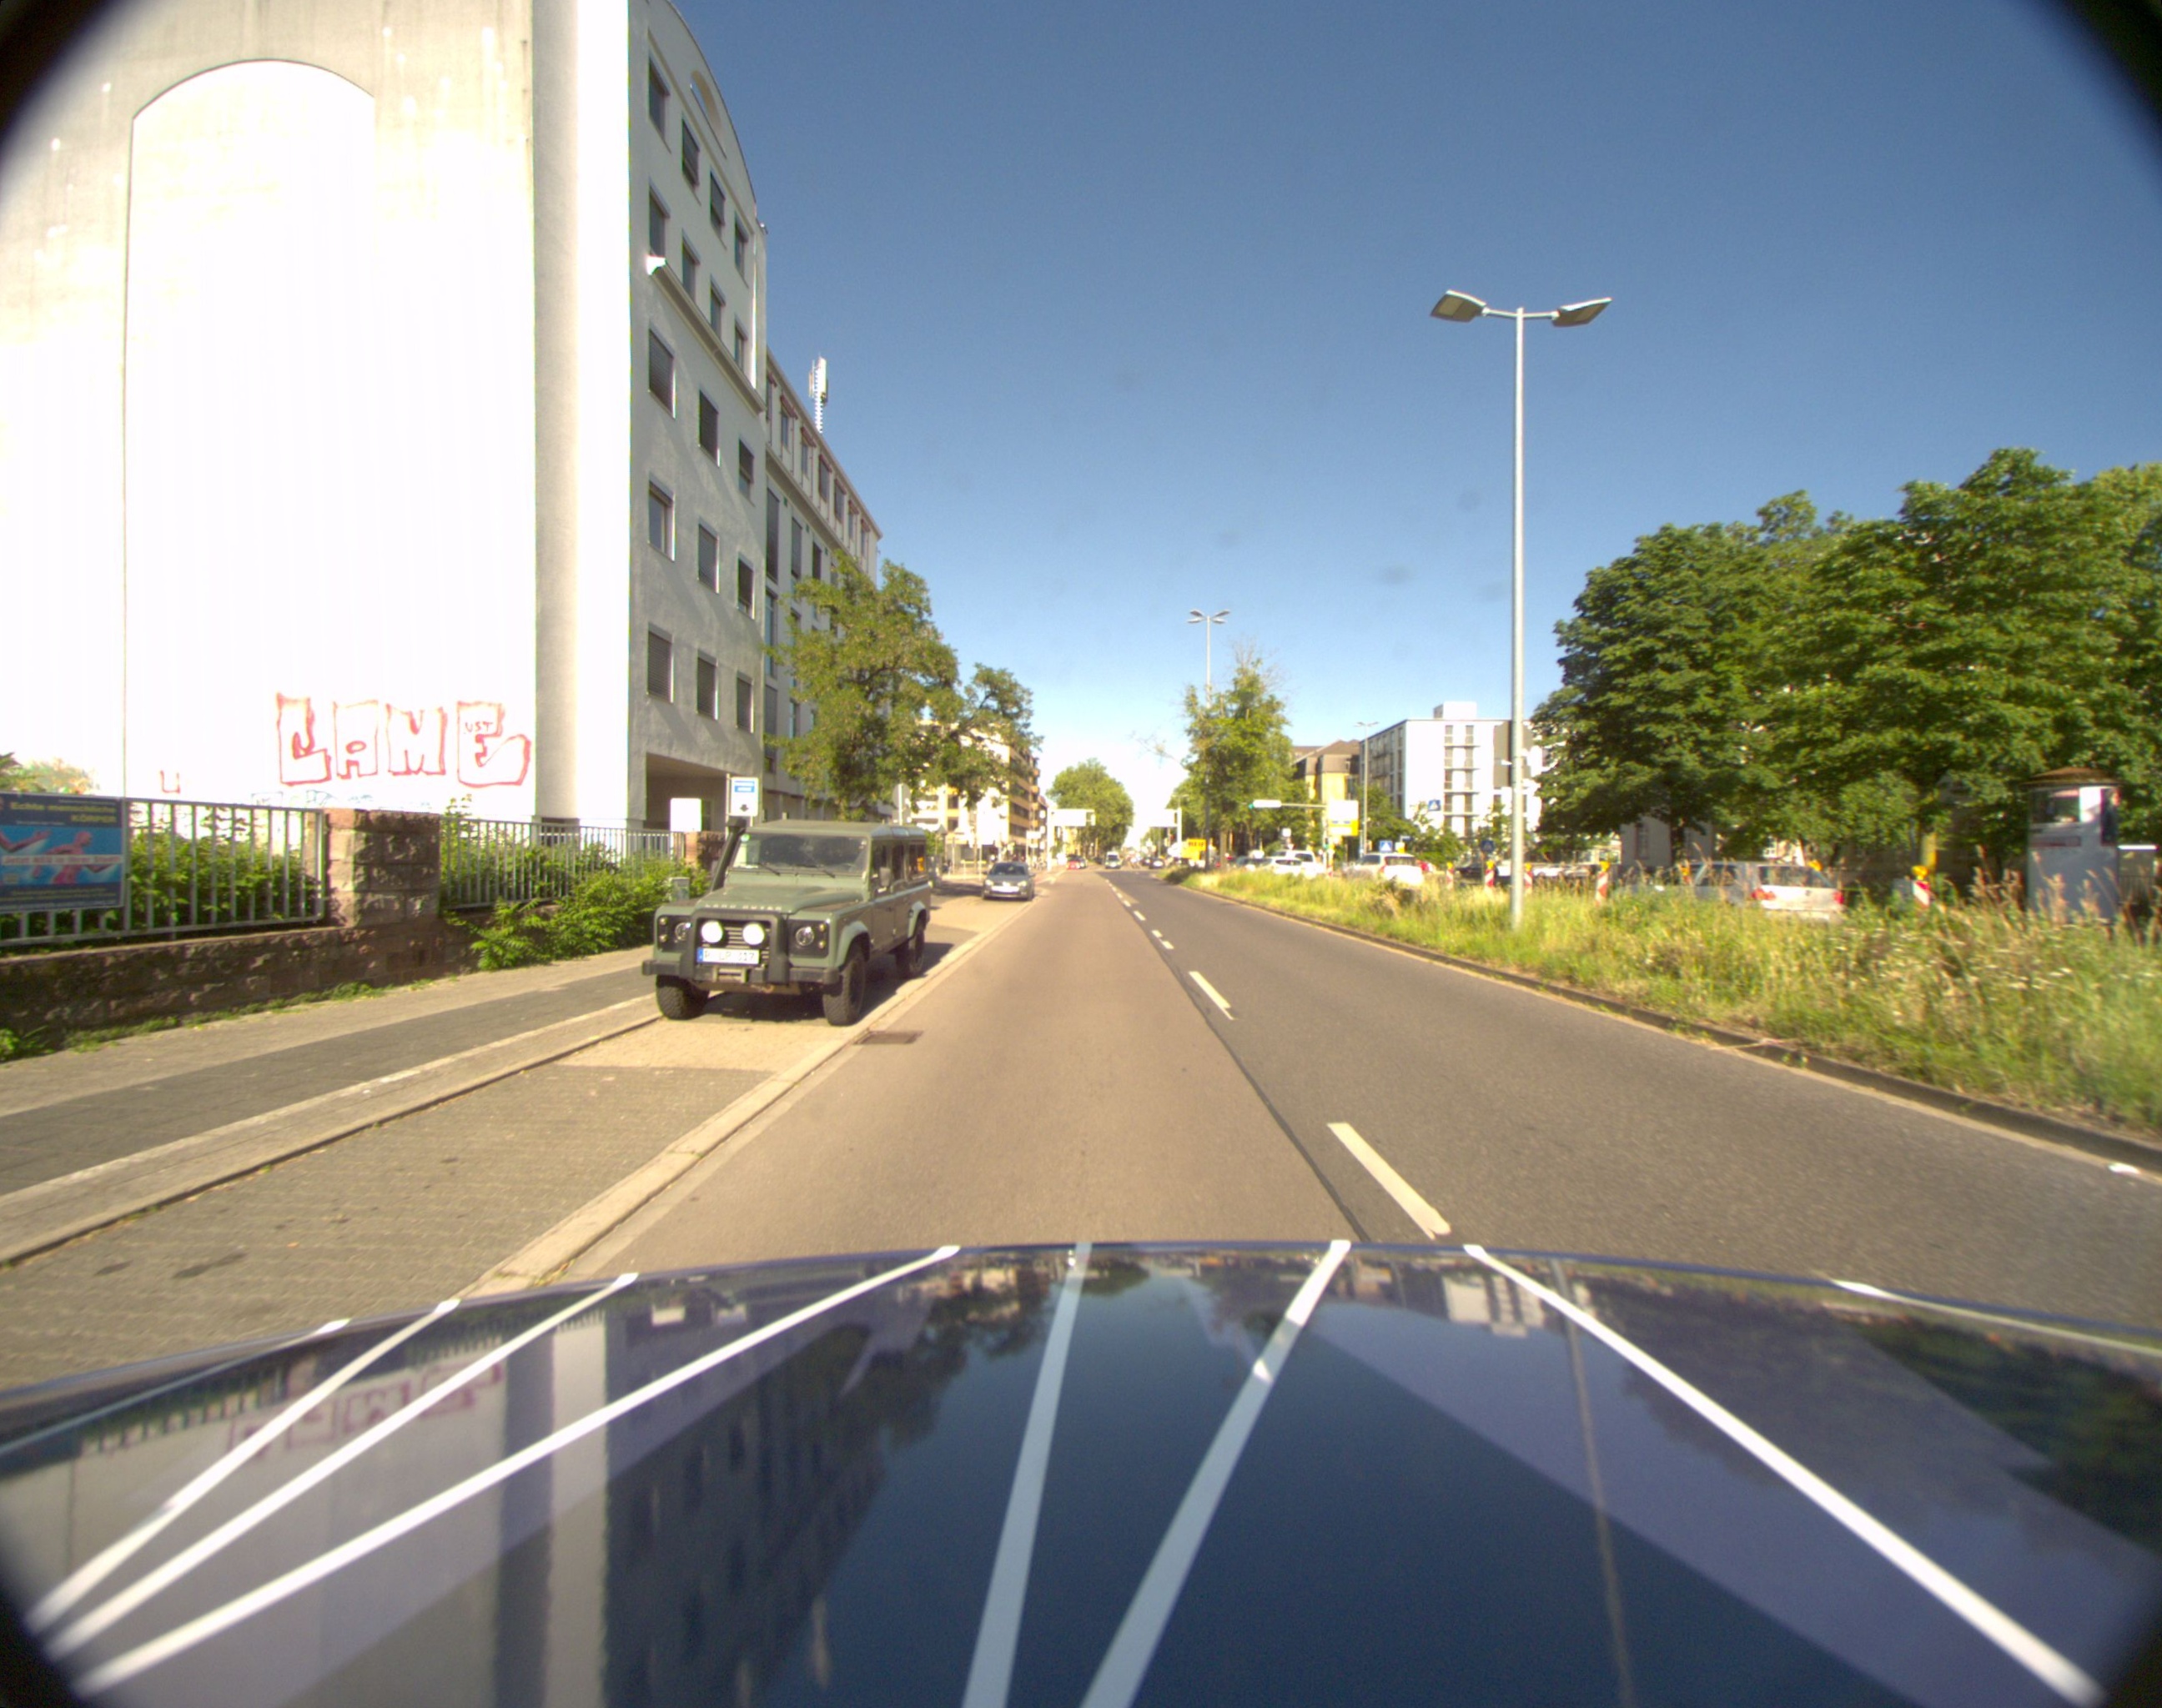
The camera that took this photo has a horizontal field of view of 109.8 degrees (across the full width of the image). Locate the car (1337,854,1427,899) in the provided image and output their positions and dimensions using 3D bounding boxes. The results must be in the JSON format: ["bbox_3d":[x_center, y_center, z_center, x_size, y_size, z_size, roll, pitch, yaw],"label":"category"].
[{"bbox_3d":[12.605,0.863,32.167,1.800,1.733,5.031,0,0,0],"label":"car"}]

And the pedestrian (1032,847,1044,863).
[{"bbox_3d":[-4.553,0.117,80.556,0.788,1.599,0.927,-3,4,-33],"label":"pedestrian"}]

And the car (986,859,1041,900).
[{"bbox_3d":[-2.543,0.982,29.513,1.642,1.439,4.157,0,-2,2],"label":"car"}]

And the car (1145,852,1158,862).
[{"bbox_3d":[11.342,0.510,122.033,1.861,1.576,4.278,0,0,2],"label":"car"}]

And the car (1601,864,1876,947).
[{"bbox_3d":[12.720,0.916,15.150,1.800,1.344,4.258,0,0,0],"label":"car"}]

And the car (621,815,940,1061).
[{"bbox_3d":[-2.929,0.675,8.662,1.664,2.002,4.776,1,1,1],"label":"car"}]

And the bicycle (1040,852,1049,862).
[{"bbox_3d":[-4.210,0.372,88.128,0.867,0.985,1.900,-1,3,-6],"label":"bicycle"}]

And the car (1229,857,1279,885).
[{"bbox_3d":[9.773,0.934,43.267,1.800,1.510,4.363,-1,0,0],"label":"car"}]

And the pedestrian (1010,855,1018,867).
[{"bbox_3d":[-6.554,0.701,74.665,0.647,1.196,0.526,0,4,11],"label":"pedestrian"}]

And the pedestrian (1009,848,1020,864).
[{"bbox_3d":[-7.067,0.211,80.703,0.799,1.635,0.982,-3,4,-33],"label":"pedestrian"}]

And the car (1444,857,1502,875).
[{"bbox_3d":[38.490,1.155,74.683,4.704,1.609,1.919,0,3,10],"label":"car"}]

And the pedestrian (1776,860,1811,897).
[{"bbox_3d":[30.213,1.021,32.213,0.742,1.526,0.781,0,0,-5],"label":"pedestrian"}]

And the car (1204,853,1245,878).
[{"bbox_3d":[9.378,0.743,49.947,1.800,1.510,4.346,-1,1,0],"label":"car"}]

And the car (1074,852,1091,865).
[{"bbox_3d":[0.193,0.634,106.445,1.882,1.511,4.000,0,3,8],"label":"car"}]

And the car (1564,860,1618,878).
[{"bbox_3d":[49.000,1.422,73.070,3.995,1.609,1.562,-1,3,6],"label":"car"}]

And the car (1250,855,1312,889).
[{"bbox_3d":[9.388,0.822,35.992,1.800,1.510,4.205,0,0,0],"label":"car"}]

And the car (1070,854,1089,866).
[{"bbox_3d":[-0.178,0.762,97.409,1.882,1.510,4.002,0,1,8],"label":"car"}]

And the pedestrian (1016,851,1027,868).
[{"bbox_3d":[-5.786,0.513,74.375,0.897,1.614,0.721,0,4,11],"label":"pedestrian"}]

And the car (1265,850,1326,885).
[{"bbox_3d":[12.806,0.752,45.640,2.239,2.016,5.017,0,0,0],"label":"car"}]

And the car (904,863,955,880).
[{"bbox_3d":[-13.587,1.549,68.104,4.052,1.400,1.885,-1,1,7],"label":"car"}]

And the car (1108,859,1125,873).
[{"bbox_3d":[4.631,1.573,99.057,1.882,1.511,4.000,0,3,8],"label":"car"}]
